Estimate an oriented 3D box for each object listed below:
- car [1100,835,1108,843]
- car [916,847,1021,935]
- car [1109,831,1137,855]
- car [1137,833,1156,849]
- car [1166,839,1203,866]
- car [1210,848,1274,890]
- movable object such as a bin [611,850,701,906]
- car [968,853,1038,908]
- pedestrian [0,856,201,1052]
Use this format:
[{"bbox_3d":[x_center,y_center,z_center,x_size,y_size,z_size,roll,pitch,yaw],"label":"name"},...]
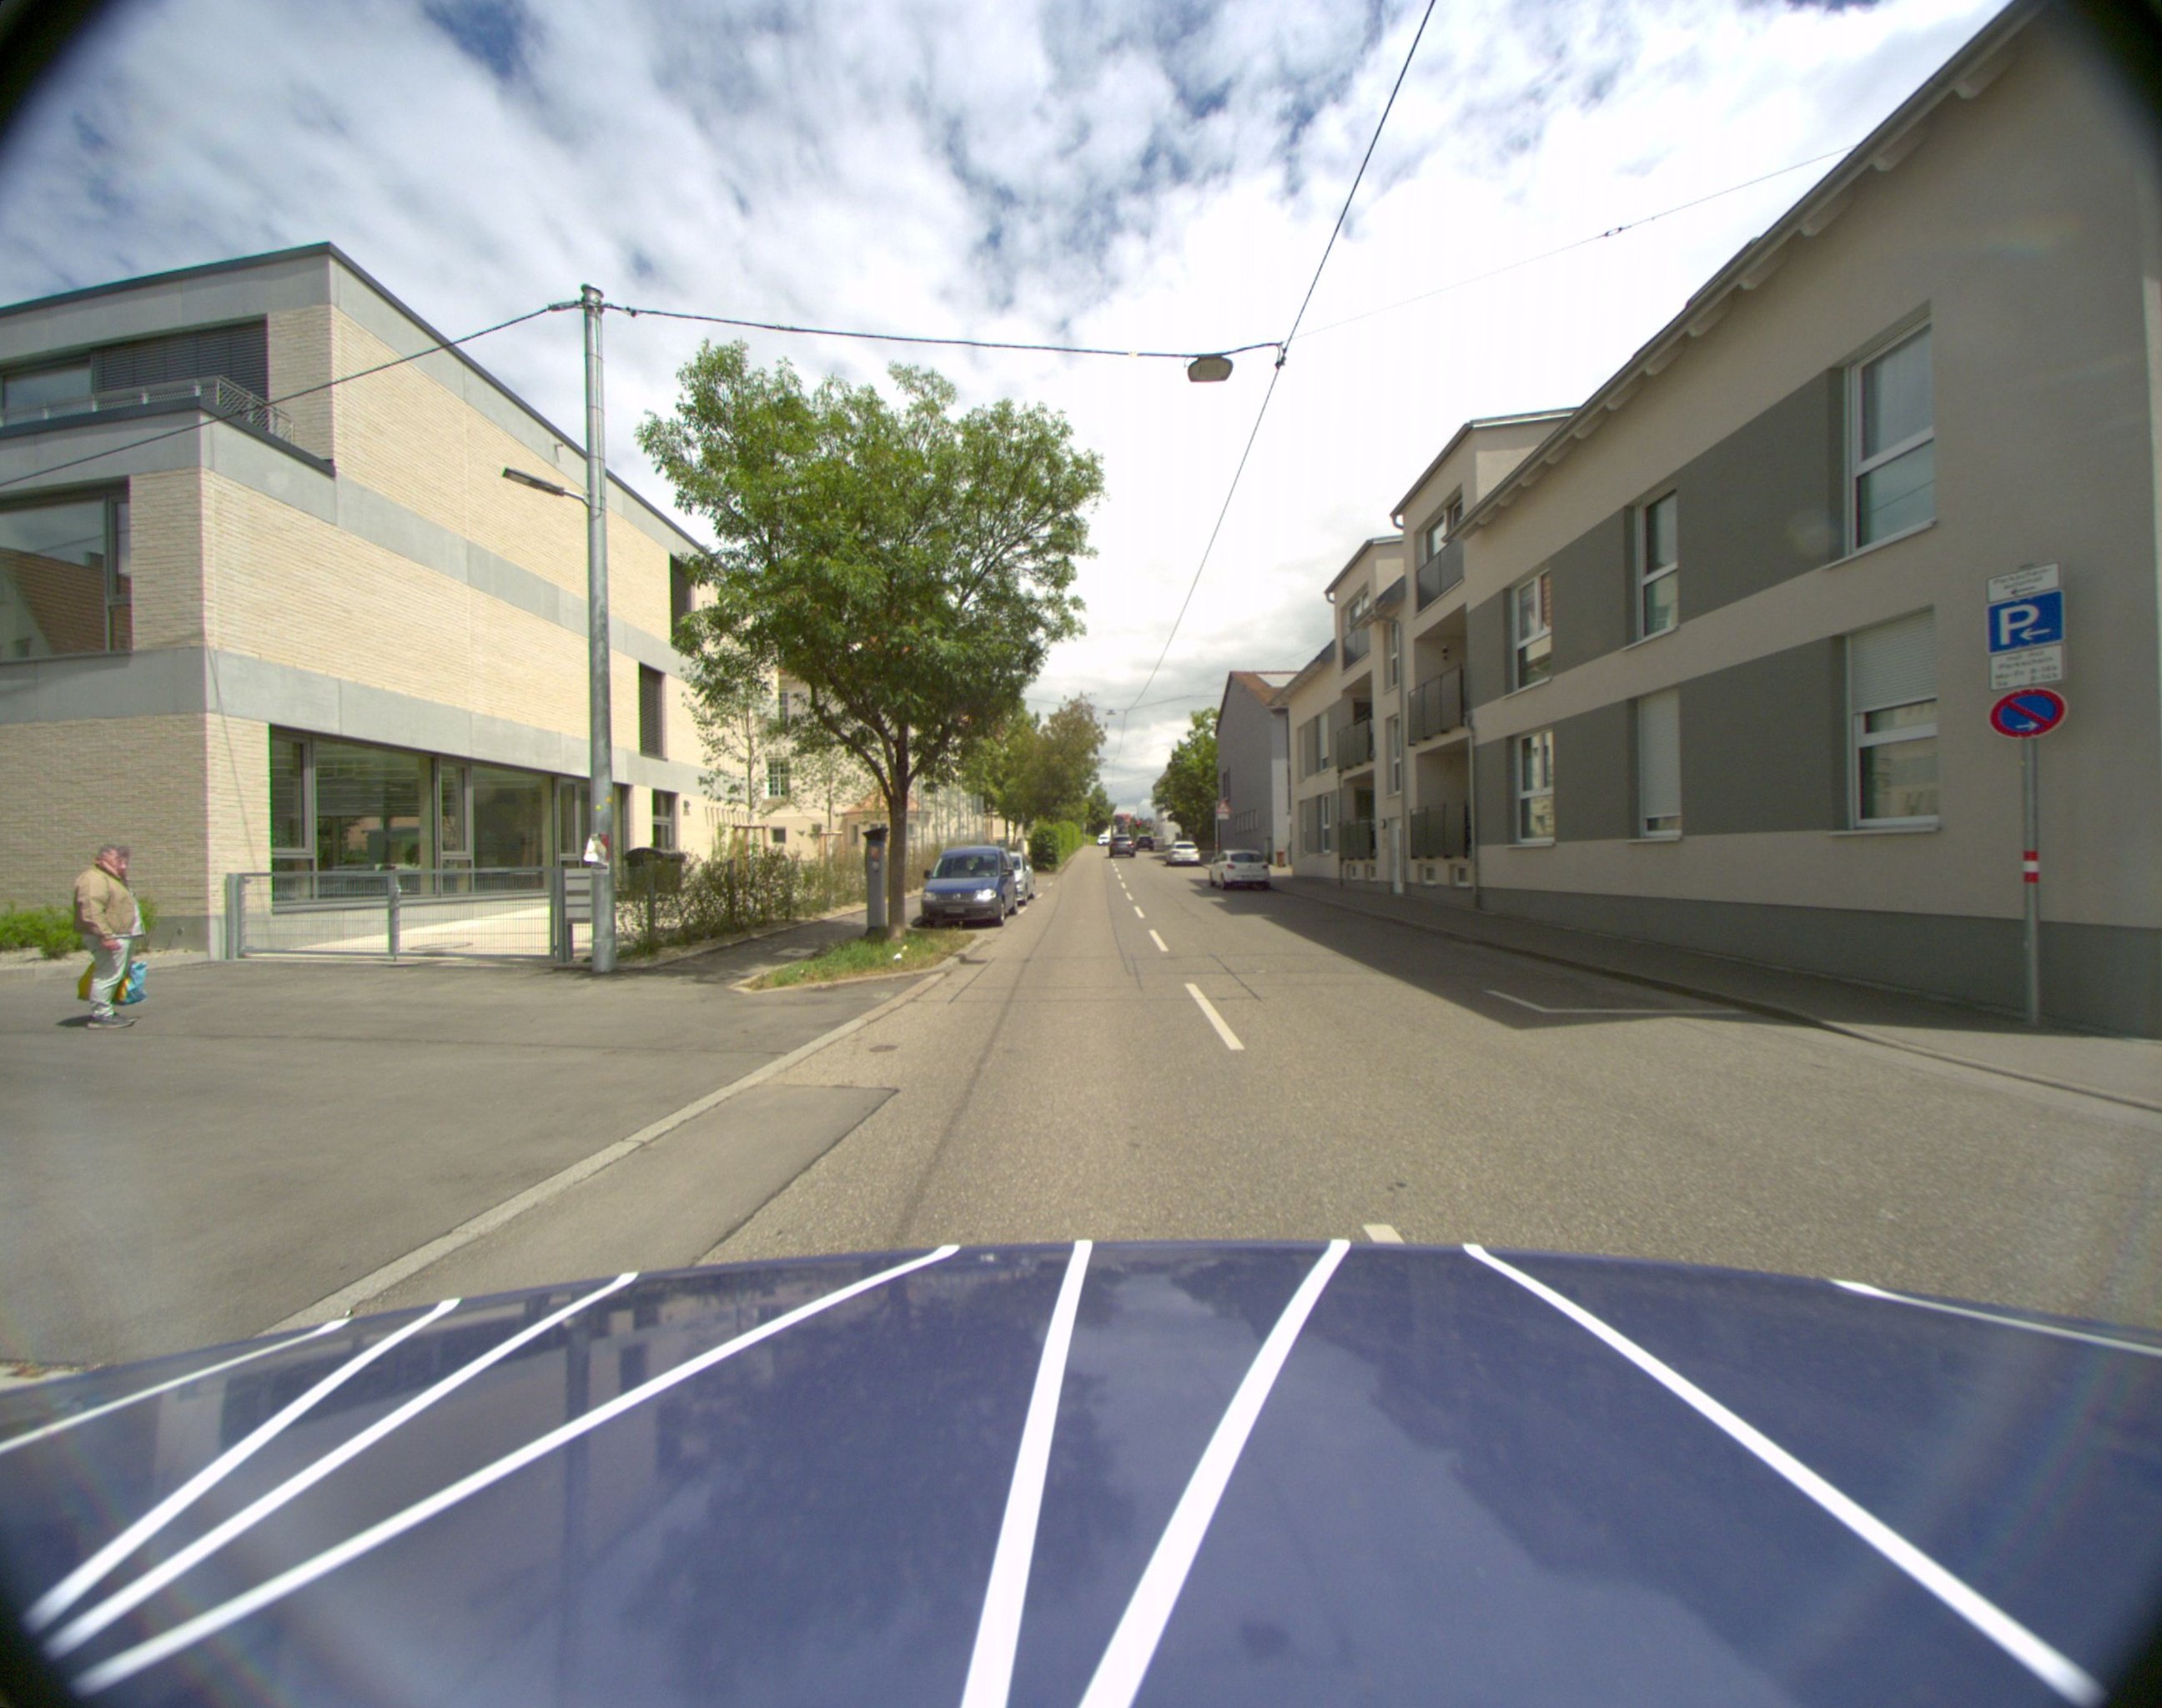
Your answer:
[{"bbox_3d":[3.672,-2.342,121.288,1.298,1.148,2.983,-4,-1,1],"label":"car"},{"bbox_3d":[-2.484,0.742,17.703,1.698,1.733,4.159,-1,1,1],"label":"car"},{"bbox_3d":[3.272,-0.850,60.084,1.946,1.709,4.596,-1,0,0],"label":"car"},{"bbox_3d":[6.811,-1.396,79.023,1.672,1.545,3.964,0,2,1],"label":"car"},{"bbox_3d":[6.205,-0.143,46.015,1.737,1.480,4.065,0,2,1],"label":"car"},{"bbox_3d":[5.869,0.504,28.031,1.665,1.322,3.473,-1,2,1],"label":"car"},{"bbox_3d":[-11.572,0.625,20.774,1.351,1.438,1.807,-1,0,2],"label":"movable object such as a bin"},{"bbox_3d":[-2.324,0.757,23.436,1.677,1.510,3.670,-1,0,1],"label":"car"},{"bbox_3d":[-9.163,0.885,7.117,0.775,1.693,0.829,-2,1,0],"label":"pedestrian"}]
